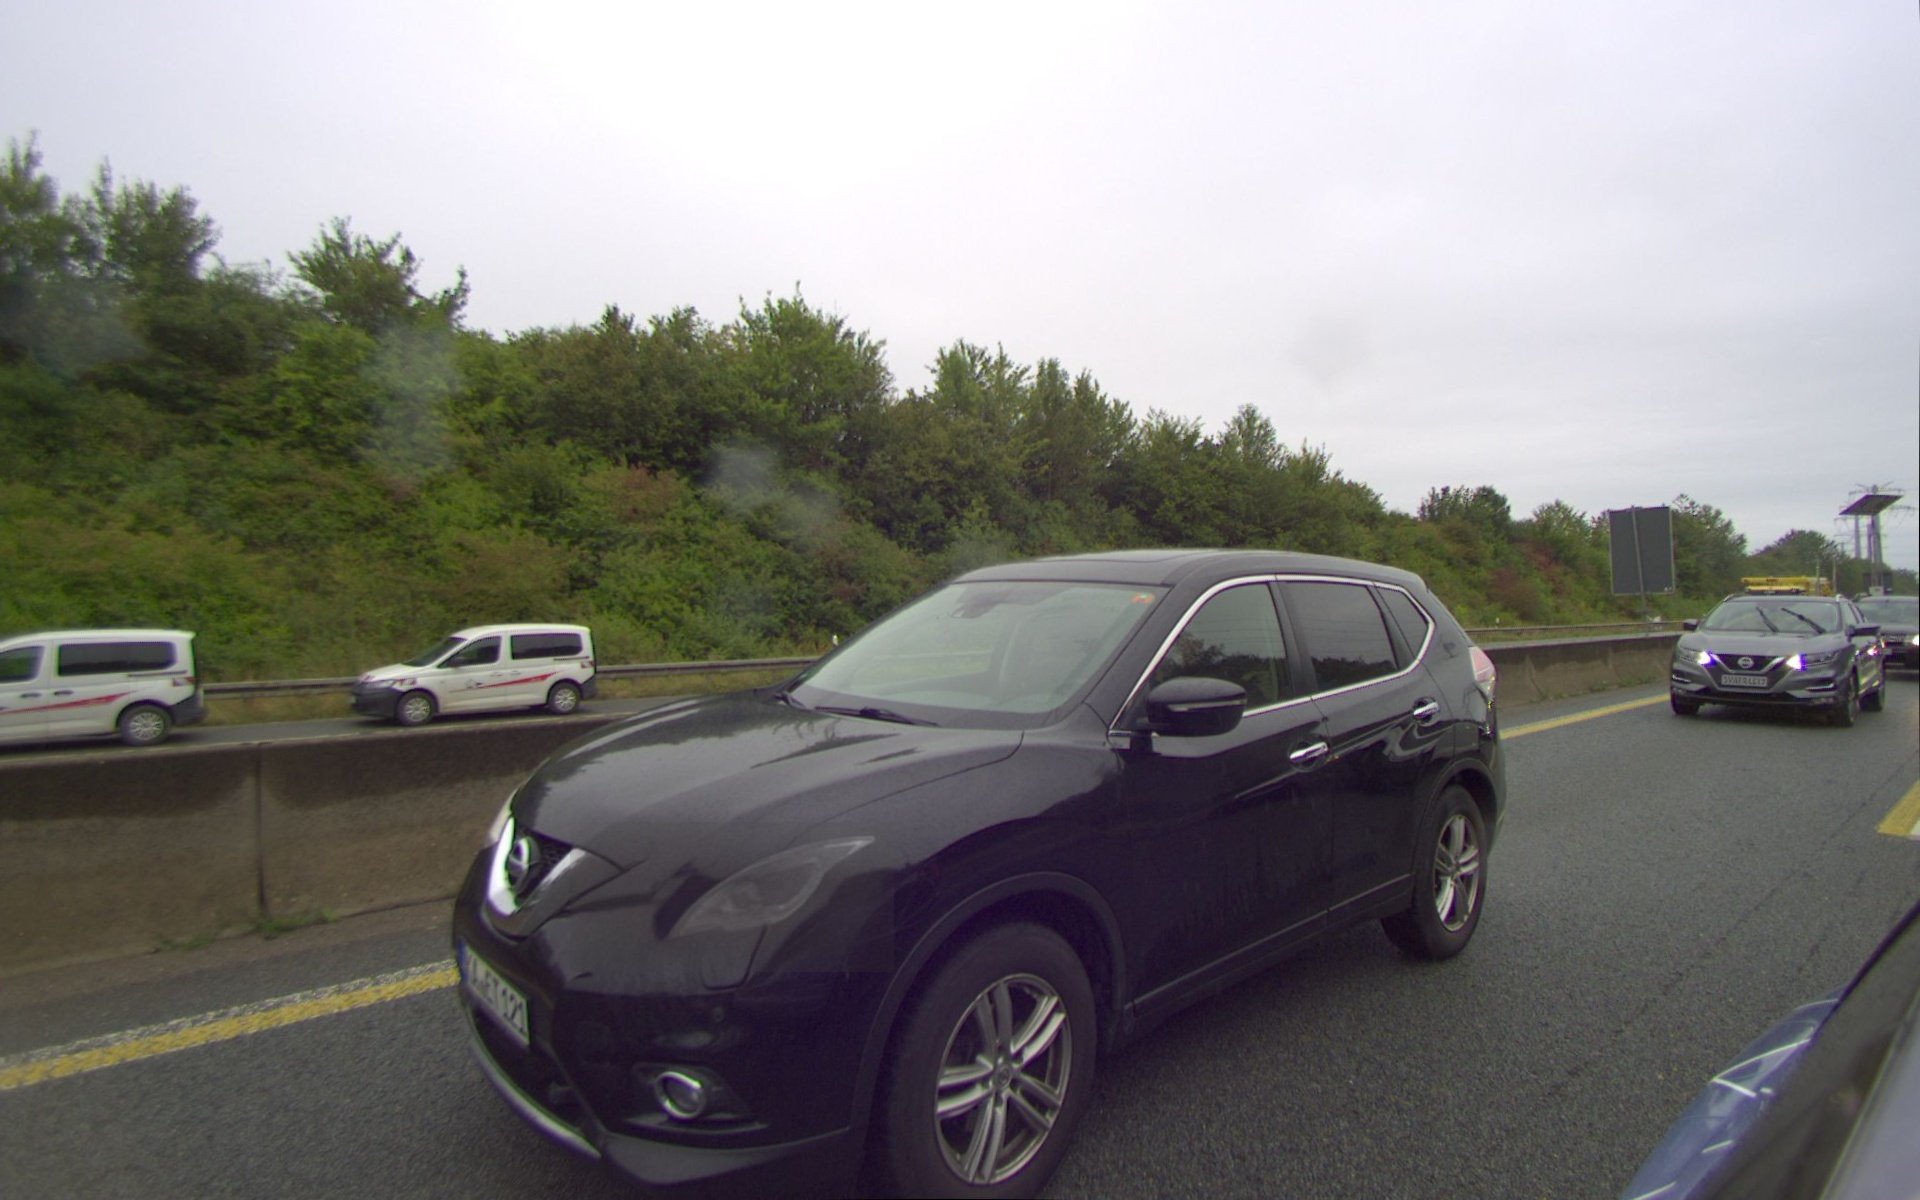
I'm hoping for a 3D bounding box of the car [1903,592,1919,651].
[{"bbox_3d":[26.605,0.551,27.024,4.054,1.509,1.782,-1,1,-42],"label":"car"}]

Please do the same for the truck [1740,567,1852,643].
[{"bbox_3d":[41.241,0.164,49.770,9.406,3.467,2.618,-1,1,-40],"label":"truck"}]

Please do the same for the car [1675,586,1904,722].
[{"bbox_3d":[10.988,0.578,13.307,4.054,1.509,1.782,-1,1,-42],"label":"car"}]

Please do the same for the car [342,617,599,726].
[{"bbox_3d":[-9.516,1.286,19.896,4.256,1.792,1.731,-1,1,-42],"label":"car"}]

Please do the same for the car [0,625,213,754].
[{"bbox_3d":[-14.290,1.356,15.711,4.196,1.780,1.731,-1,1,-42],"label":"car"}]

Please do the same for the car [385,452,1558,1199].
[{"bbox_3d":[0.529,0.567,3.969,4.562,1.696,1.892,-1,1,-42],"label":"car"}]

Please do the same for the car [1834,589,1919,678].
[{"bbox_3d":[18.819,0.594,20.085,4.054,1.618,1.782,-1,1,-42],"label":"car"}]
